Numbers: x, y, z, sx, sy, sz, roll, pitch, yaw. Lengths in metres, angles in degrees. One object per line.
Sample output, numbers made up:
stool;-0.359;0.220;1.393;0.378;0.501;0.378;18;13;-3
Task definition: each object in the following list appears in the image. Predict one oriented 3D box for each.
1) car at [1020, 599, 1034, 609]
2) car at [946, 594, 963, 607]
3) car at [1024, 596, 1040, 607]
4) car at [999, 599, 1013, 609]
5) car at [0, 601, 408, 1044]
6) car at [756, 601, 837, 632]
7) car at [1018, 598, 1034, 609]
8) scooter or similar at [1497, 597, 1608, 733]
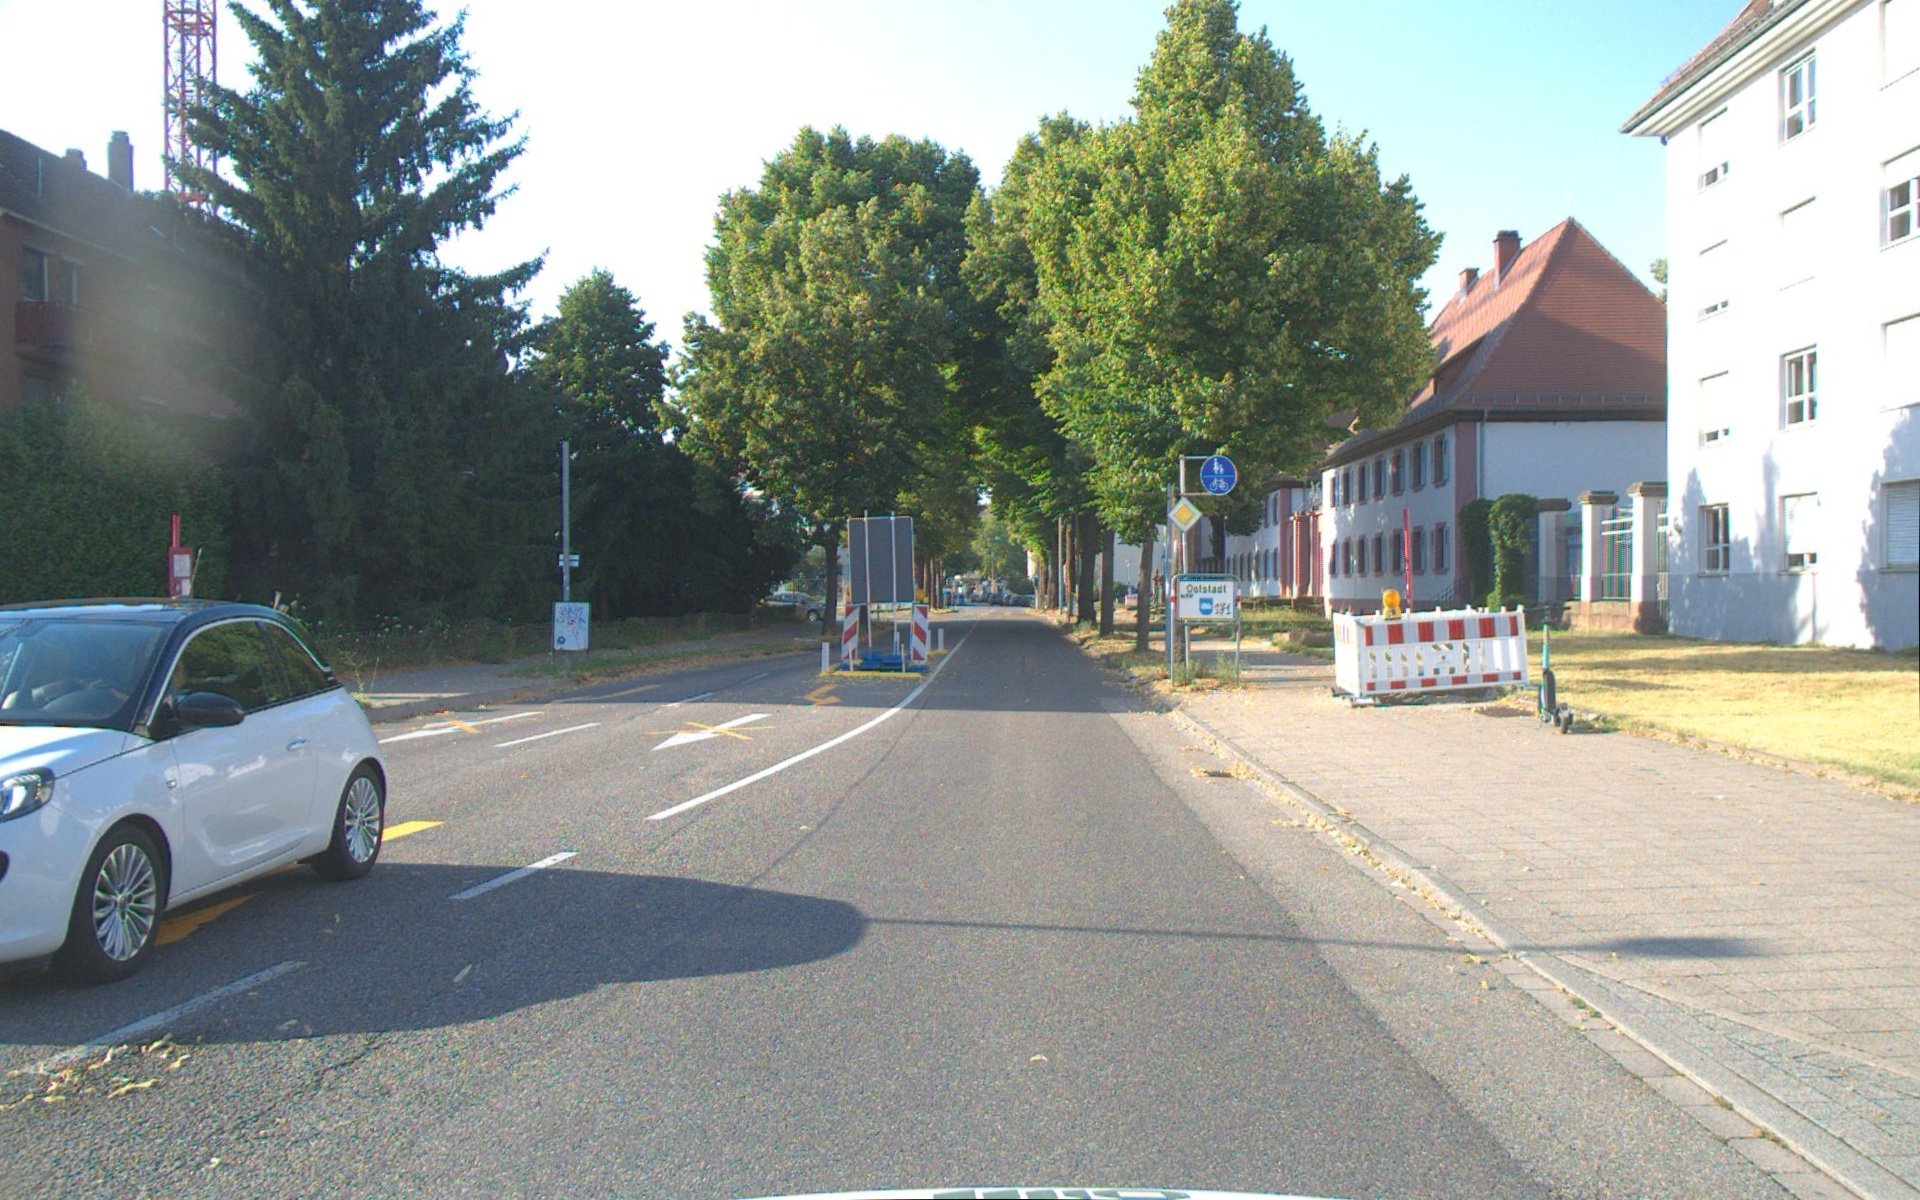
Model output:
car;8.754;0.485;216.862;1.803;1.283;4.000;-1;0;1
car;-0.746;0.117;222.170;1.954;1.717;3.996;-1;-1;-4
car;8.669;0.209;199.708;1.803;1.283;4.000;-1;0;1
car;6.802;0.605;245.961;1.804;1.410;3.998;-1;0;-2
car;-3.984;0.754;7.306;1.722;1.446;3.626;-1;0;2
car;-8.096;0.821;81.995;3.763;1.499;1.652;0;0;3
car;8.406;0.461;210.078;1.802;1.283;4.002;1;0;5
scooter or similar;6.187;0.654;17.340;0.547;1.314;1.463;-5;0;1
